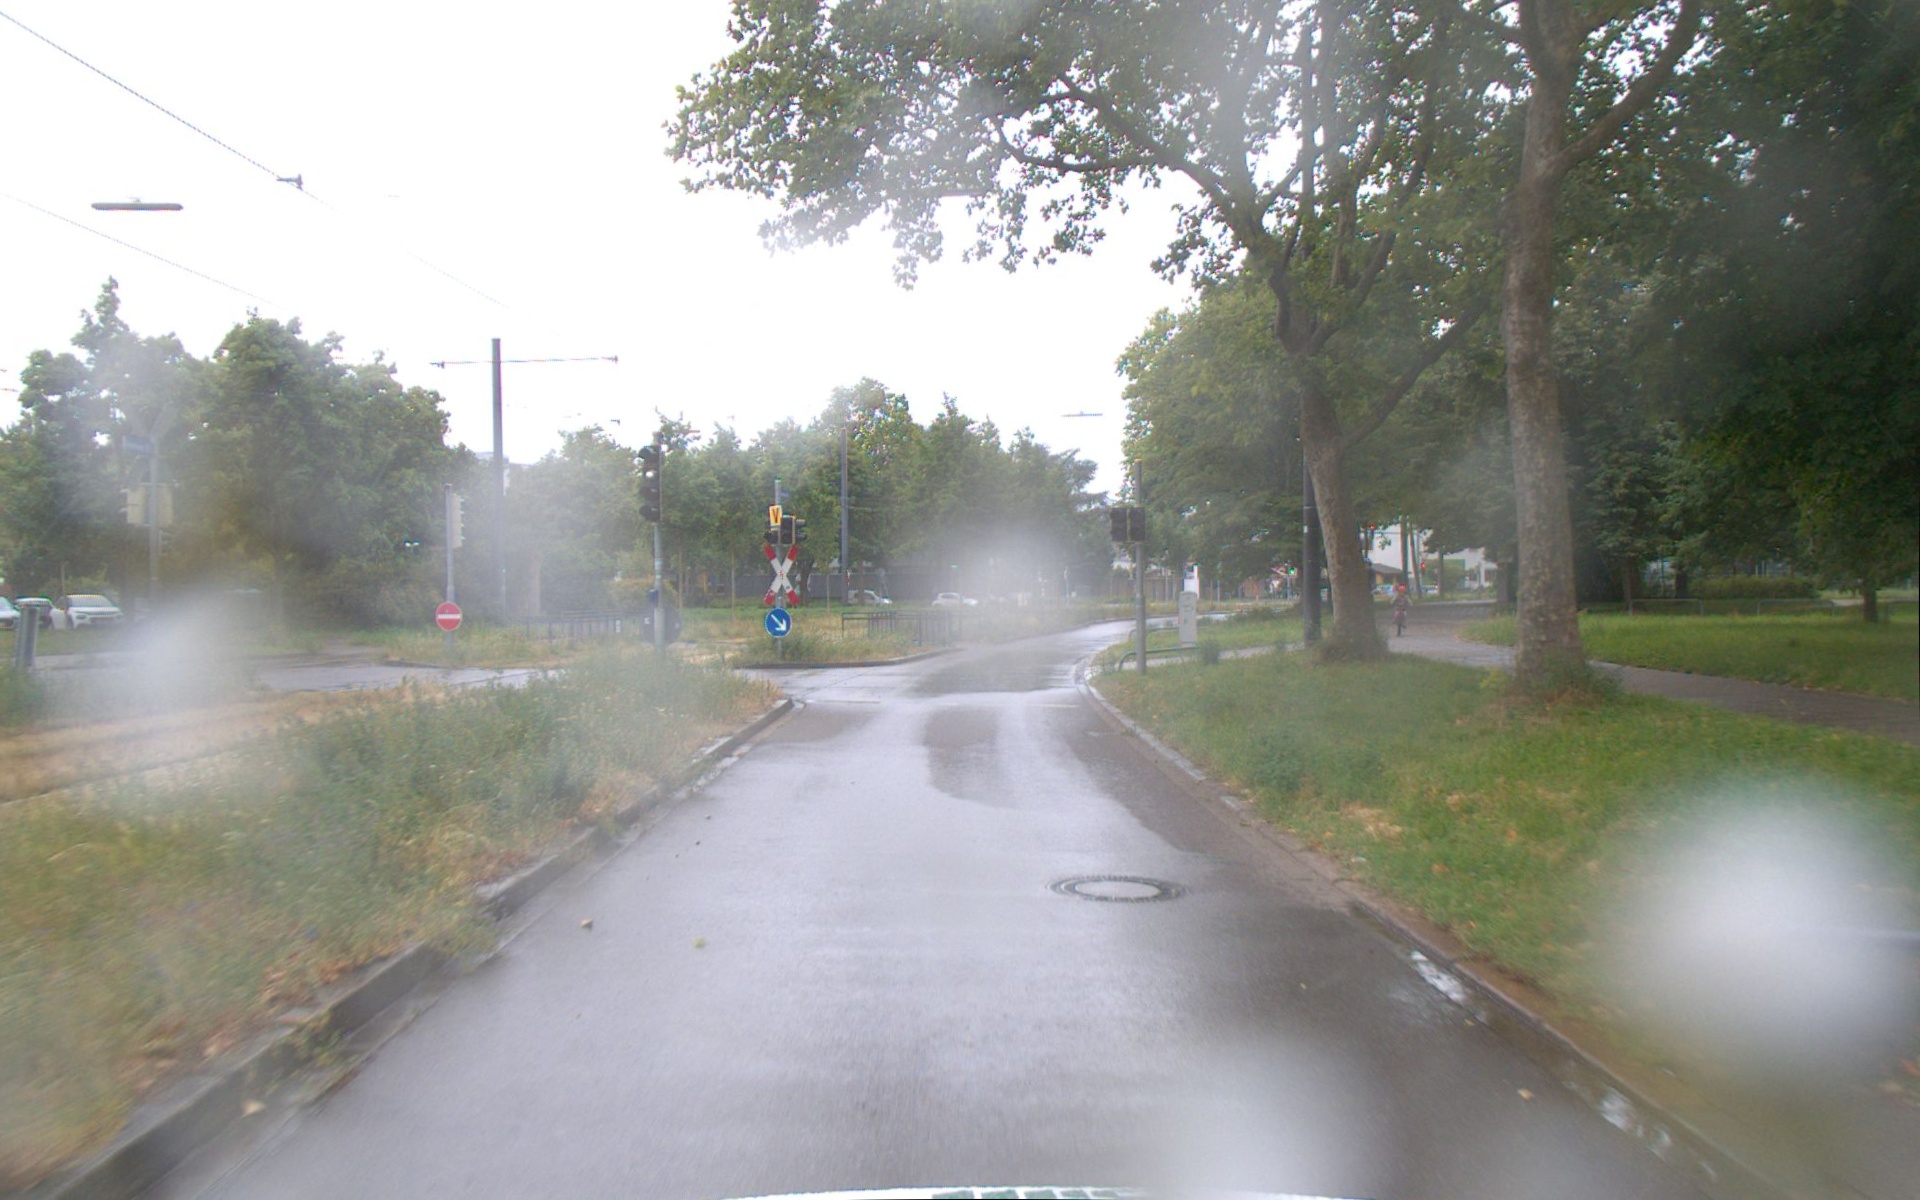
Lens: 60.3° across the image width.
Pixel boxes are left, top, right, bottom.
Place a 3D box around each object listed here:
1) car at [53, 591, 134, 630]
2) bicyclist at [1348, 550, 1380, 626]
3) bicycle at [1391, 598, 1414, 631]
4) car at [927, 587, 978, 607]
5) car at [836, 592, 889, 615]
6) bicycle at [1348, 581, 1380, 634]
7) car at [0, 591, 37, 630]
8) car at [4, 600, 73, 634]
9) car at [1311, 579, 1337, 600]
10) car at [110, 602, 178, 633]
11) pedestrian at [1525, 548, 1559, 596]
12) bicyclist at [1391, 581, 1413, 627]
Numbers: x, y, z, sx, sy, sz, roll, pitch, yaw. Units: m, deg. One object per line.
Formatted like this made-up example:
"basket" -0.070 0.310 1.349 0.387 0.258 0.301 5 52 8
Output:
"car" -30.618 0.378 58.425 1.652 1.271 3.684 -2 0 -42
"bicyclist" 9.508 -0.296 38.931 0.696 1.751 0.958 -1 1 14
"bicycle" 10.344 0.334 38.688 0.476 0.721 1.459 -1 1 13
"car" -0.636 -0.263 138.365 3.979 1.525 1.653 -1 0 16
"car" -8.311 0.277 140.674 4.120 1.827 1.653 -1 1 17
"bicycle" 9.517 0.160 38.933 0.696 1.162 1.974 -1 1 14
"car" -32.635 0.359 55.961 1.652 1.271 3.684 -2 0 -42
"car" -37.338 0.689 66.958 1.652 1.271 3.684 -2 0 -42
"car" 26.238 -0.747 119.278 1.648 1.445 3.818 -1 1 15
"car" -34.647 0.741 70.169 1.652 1.271 3.684 -2 0 -42
"pedestrian" 21.330 -1.009 60.587 1.013 1.724 0.852 -1 0 31
"bicyclist" 10.311 0.087 38.587 0.476 1.056 0.592 -1 1 13
